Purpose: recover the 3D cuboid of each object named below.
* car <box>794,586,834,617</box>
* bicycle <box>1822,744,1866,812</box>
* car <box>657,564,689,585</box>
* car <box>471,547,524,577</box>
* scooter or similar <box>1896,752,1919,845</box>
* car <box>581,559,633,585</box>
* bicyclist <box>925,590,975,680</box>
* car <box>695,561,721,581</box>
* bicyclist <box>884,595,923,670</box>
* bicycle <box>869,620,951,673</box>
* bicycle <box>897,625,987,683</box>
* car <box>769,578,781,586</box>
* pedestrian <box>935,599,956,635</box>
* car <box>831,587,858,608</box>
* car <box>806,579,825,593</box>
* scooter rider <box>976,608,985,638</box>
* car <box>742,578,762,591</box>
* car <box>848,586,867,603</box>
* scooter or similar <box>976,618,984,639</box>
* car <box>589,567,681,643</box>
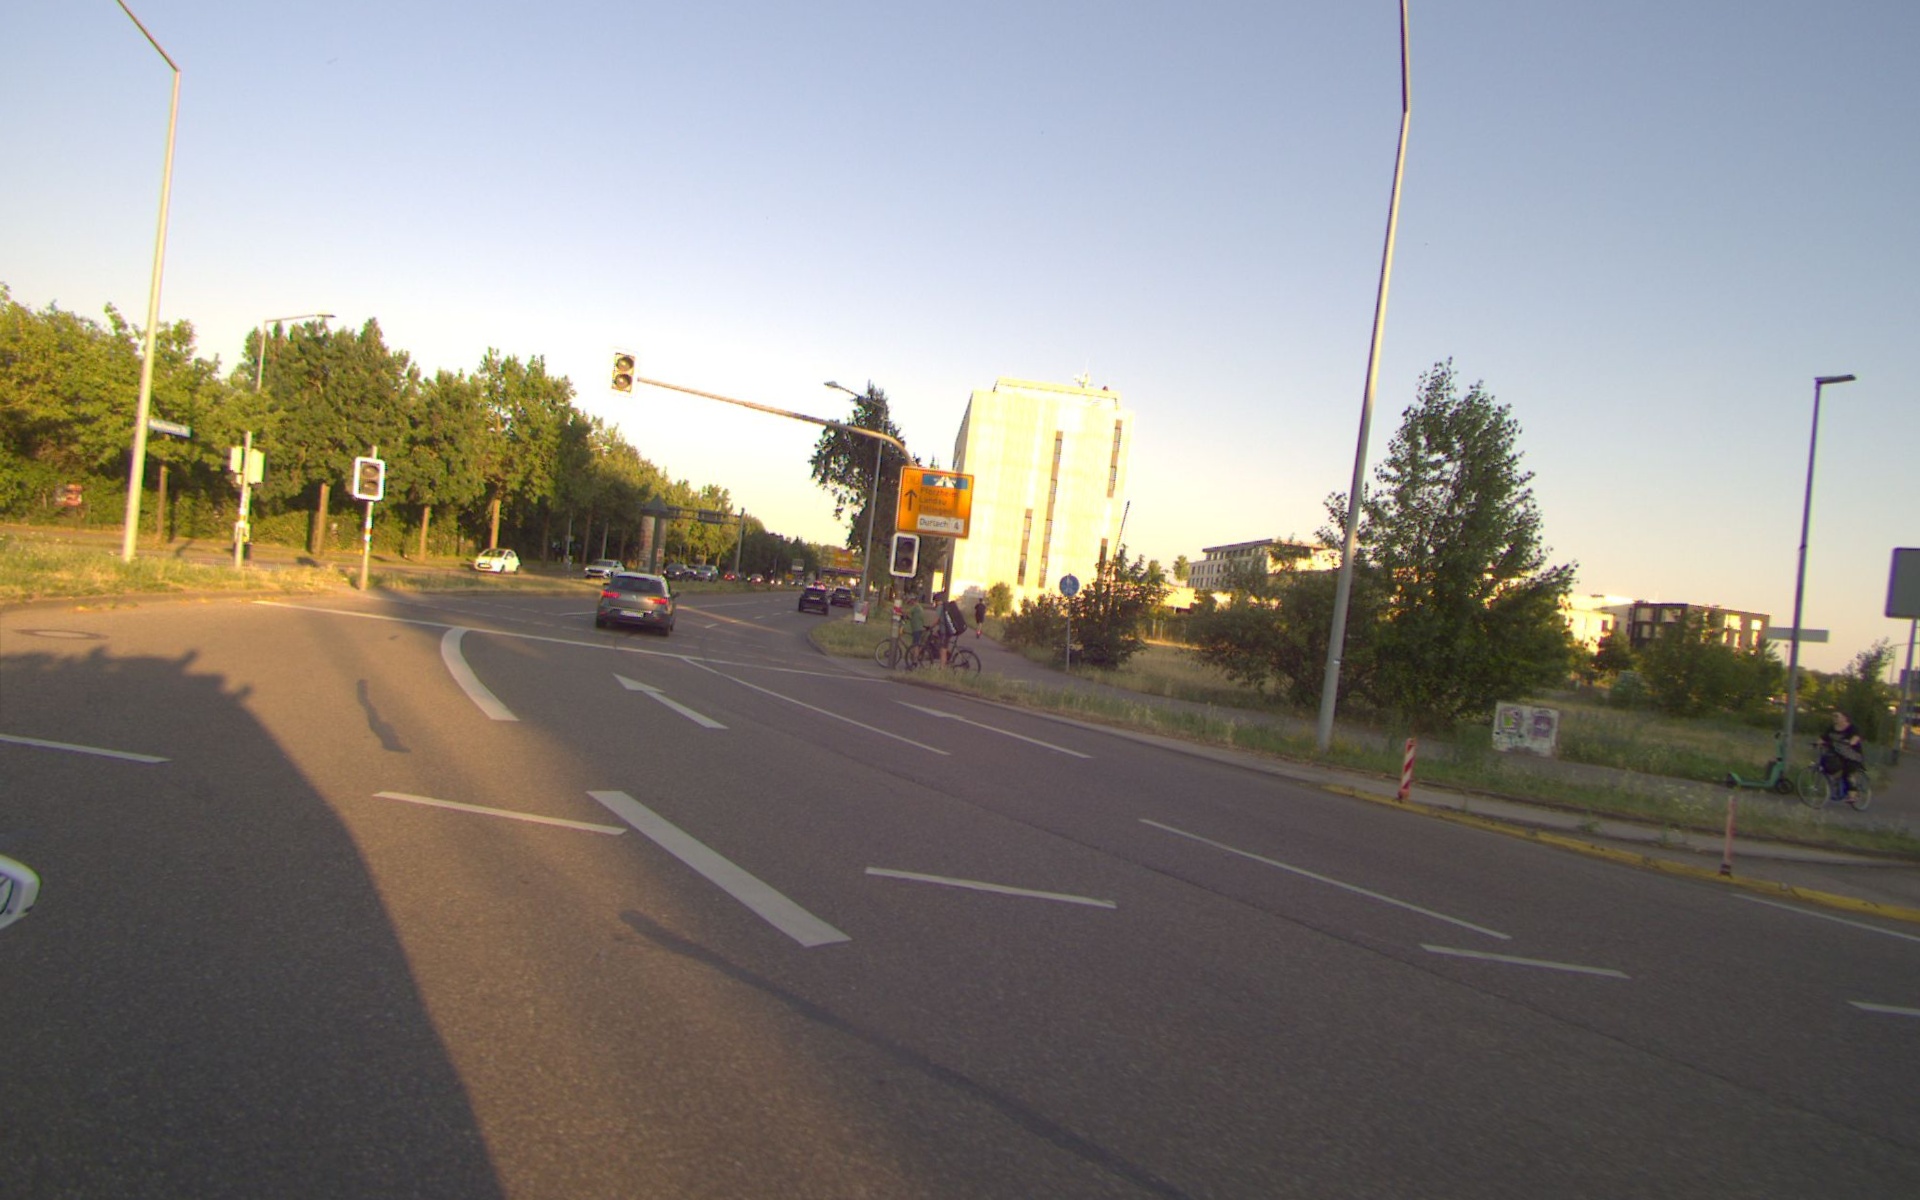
[{"bbox_3d":[-8.653,0.059,59.742,1.785,1.544,4.131,7,0,-3],"label":"car"},{"bbox_3d":[15.323,3.072,17.431,1.362,1.102,0.277,7,1,-40],"label":"bicycle"},{"bbox_3d":[-26.374,-2.342,92.660,1.771,1.653,4.453,6,0,-4],"label":"car"},{"bbox_3d":[-27.652,-2.266,60.209,1.525,1.461,3.486,6,0,-1],"label":"car"},{"bbox_3d":[13.224,2.723,13.063,1.360,1.178,0.441,10,2,31],"label":"scooter or similar"},{"bbox_3d":[-24.667,-1.918,70.428,1.695,1.467,4.549,7,0,3],"label":"car"},{"bbox_3d":[-0.237,0.774,22.508,0.894,1.922,0.640,5,2,-7],"label":"bicyclist"},{"bbox_3d":[-26.806,-3.114,107.165,1.888,1.776,4.916,6,0,-6],"label":"car"},{"bbox_3d":[-1.376,0.785,24.364,0.756,1.724,0.640,4,2,-7],"label":"bicyclist"},{"bbox_3d":[-1.218,1.121,24.347,1.894,1.099,0.456,5,2,-7],"label":"bicycle"},{"bbox_3d":[-0.405,1.200,22.542,1.894,1.099,0.456,6,1,-7],"label":"bicycle"},{"bbox_3d":[-33.520,-3.236,182.641,1.589,1.325,3.714,6,0,-3],"label":"car"},{"bbox_3d":[-0.658,0.768,46.011,0.782,1.569,0.567,7,1,-4],"label":"pedestrian"},{"bbox_3d":[-9.304,-0.195,81.508,1.720,1.507,4.132,7,0,-2],"label":"car"},{"bbox_3d":[-17.820,-1.718,124.166,1.965,1.489,3.995,8,0,-6],"label":"car"},{"bbox_3d":[0.962,1.090,47.484,0.260,1.356,0.406,7,1,-1],"label":"scooter rider"},{"bbox_3d":[-28.874,-2.077,139.802,1.812,1.478,4.580,7,-1,-2],"label":"car"},{"bbox_3d":[-11.283,-0.643,111.061,1.878,1.638,3.995,7,0,-6],"label":"car"},{"bbox_3d":[0.947,1.355,47.521,0.242,0.925,1.038,7,1,-1],"label":"scooter or similar"},{"bbox_3d":[-8.098,0.059,24.848,1.728,1.442,4.112,7,1,-22],"label":"car"}]
